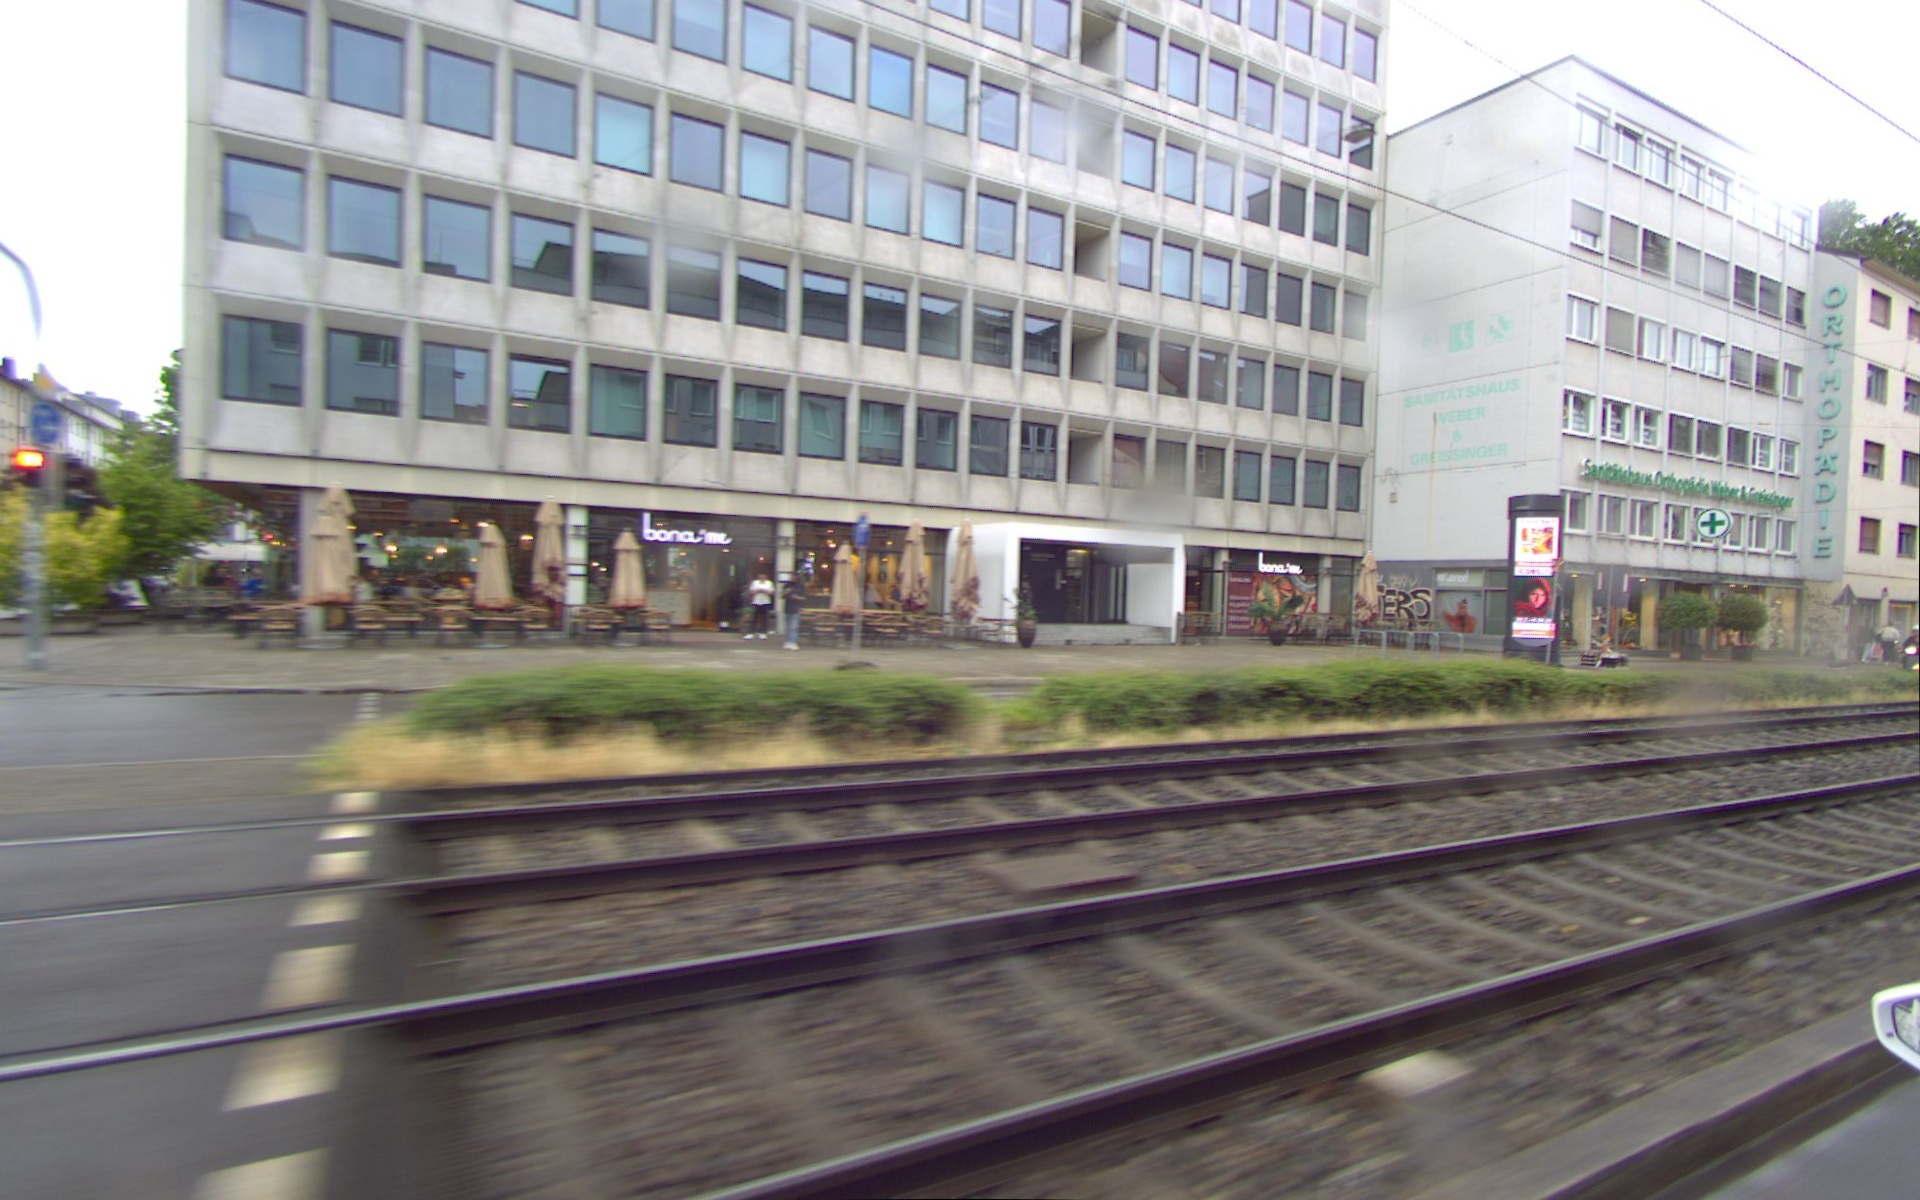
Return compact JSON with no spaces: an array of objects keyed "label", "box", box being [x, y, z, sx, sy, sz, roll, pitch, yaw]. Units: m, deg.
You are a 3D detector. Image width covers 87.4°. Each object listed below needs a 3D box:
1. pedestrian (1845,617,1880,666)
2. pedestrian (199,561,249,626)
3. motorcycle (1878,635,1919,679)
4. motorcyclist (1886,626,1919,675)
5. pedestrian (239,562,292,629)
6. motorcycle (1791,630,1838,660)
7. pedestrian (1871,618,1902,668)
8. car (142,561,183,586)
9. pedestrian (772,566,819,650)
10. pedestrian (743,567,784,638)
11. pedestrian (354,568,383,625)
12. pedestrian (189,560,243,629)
[{"label":"pedestrian","box":[36.285,1.677,40.403,0.971,1.921,0.724,2,1,-30]},{"label":"pedestrian","box":[-18.128,-0.156,24.756,0.887,1.553,0.956,1,1,-31]},{"label":"motorcycle","box":[24.940,1.498,26.272,1.907,1.074,0.739,2,1,-28]},{"label":"motorcyclist","box":[24.903,1.320,26.244,0.958,1.234,0.738,2,1,-28]},{"label":"pedestrian","box":[-16.516,-0.112,23.894,0.954,1.553,0.889,1,1,-31]},{"label":"motorcycle","box":[36.334,1.894,42.728,0.381,1.196,1.469,1,1,-30]},{"label":"pedestrian","box":[36.708,1.704,39.795,0.734,1.921,0.675,2,1,-30]},{"label":"car","box":[-59.189,-1.978,74.620,1.761,1.757,4.131,1,1,-30]},{"label":"pedestrian","box":[-3.680,0.183,22.473,0.836,1.847,0.561,1,1,-34]},{"label":"pedestrian","box":[-5.028,0.061,25.643,0.836,1.772,0.561,1,1,-34]},{"label":"pedestrian","box":[-14.163,-0.089,24.049,0.547,1.339,0.520,2,1,-29]},{"label":"pedestrian","box":[-17.362,-0.132,23.463,0.886,1.553,0.957,1,1,-30]}]
